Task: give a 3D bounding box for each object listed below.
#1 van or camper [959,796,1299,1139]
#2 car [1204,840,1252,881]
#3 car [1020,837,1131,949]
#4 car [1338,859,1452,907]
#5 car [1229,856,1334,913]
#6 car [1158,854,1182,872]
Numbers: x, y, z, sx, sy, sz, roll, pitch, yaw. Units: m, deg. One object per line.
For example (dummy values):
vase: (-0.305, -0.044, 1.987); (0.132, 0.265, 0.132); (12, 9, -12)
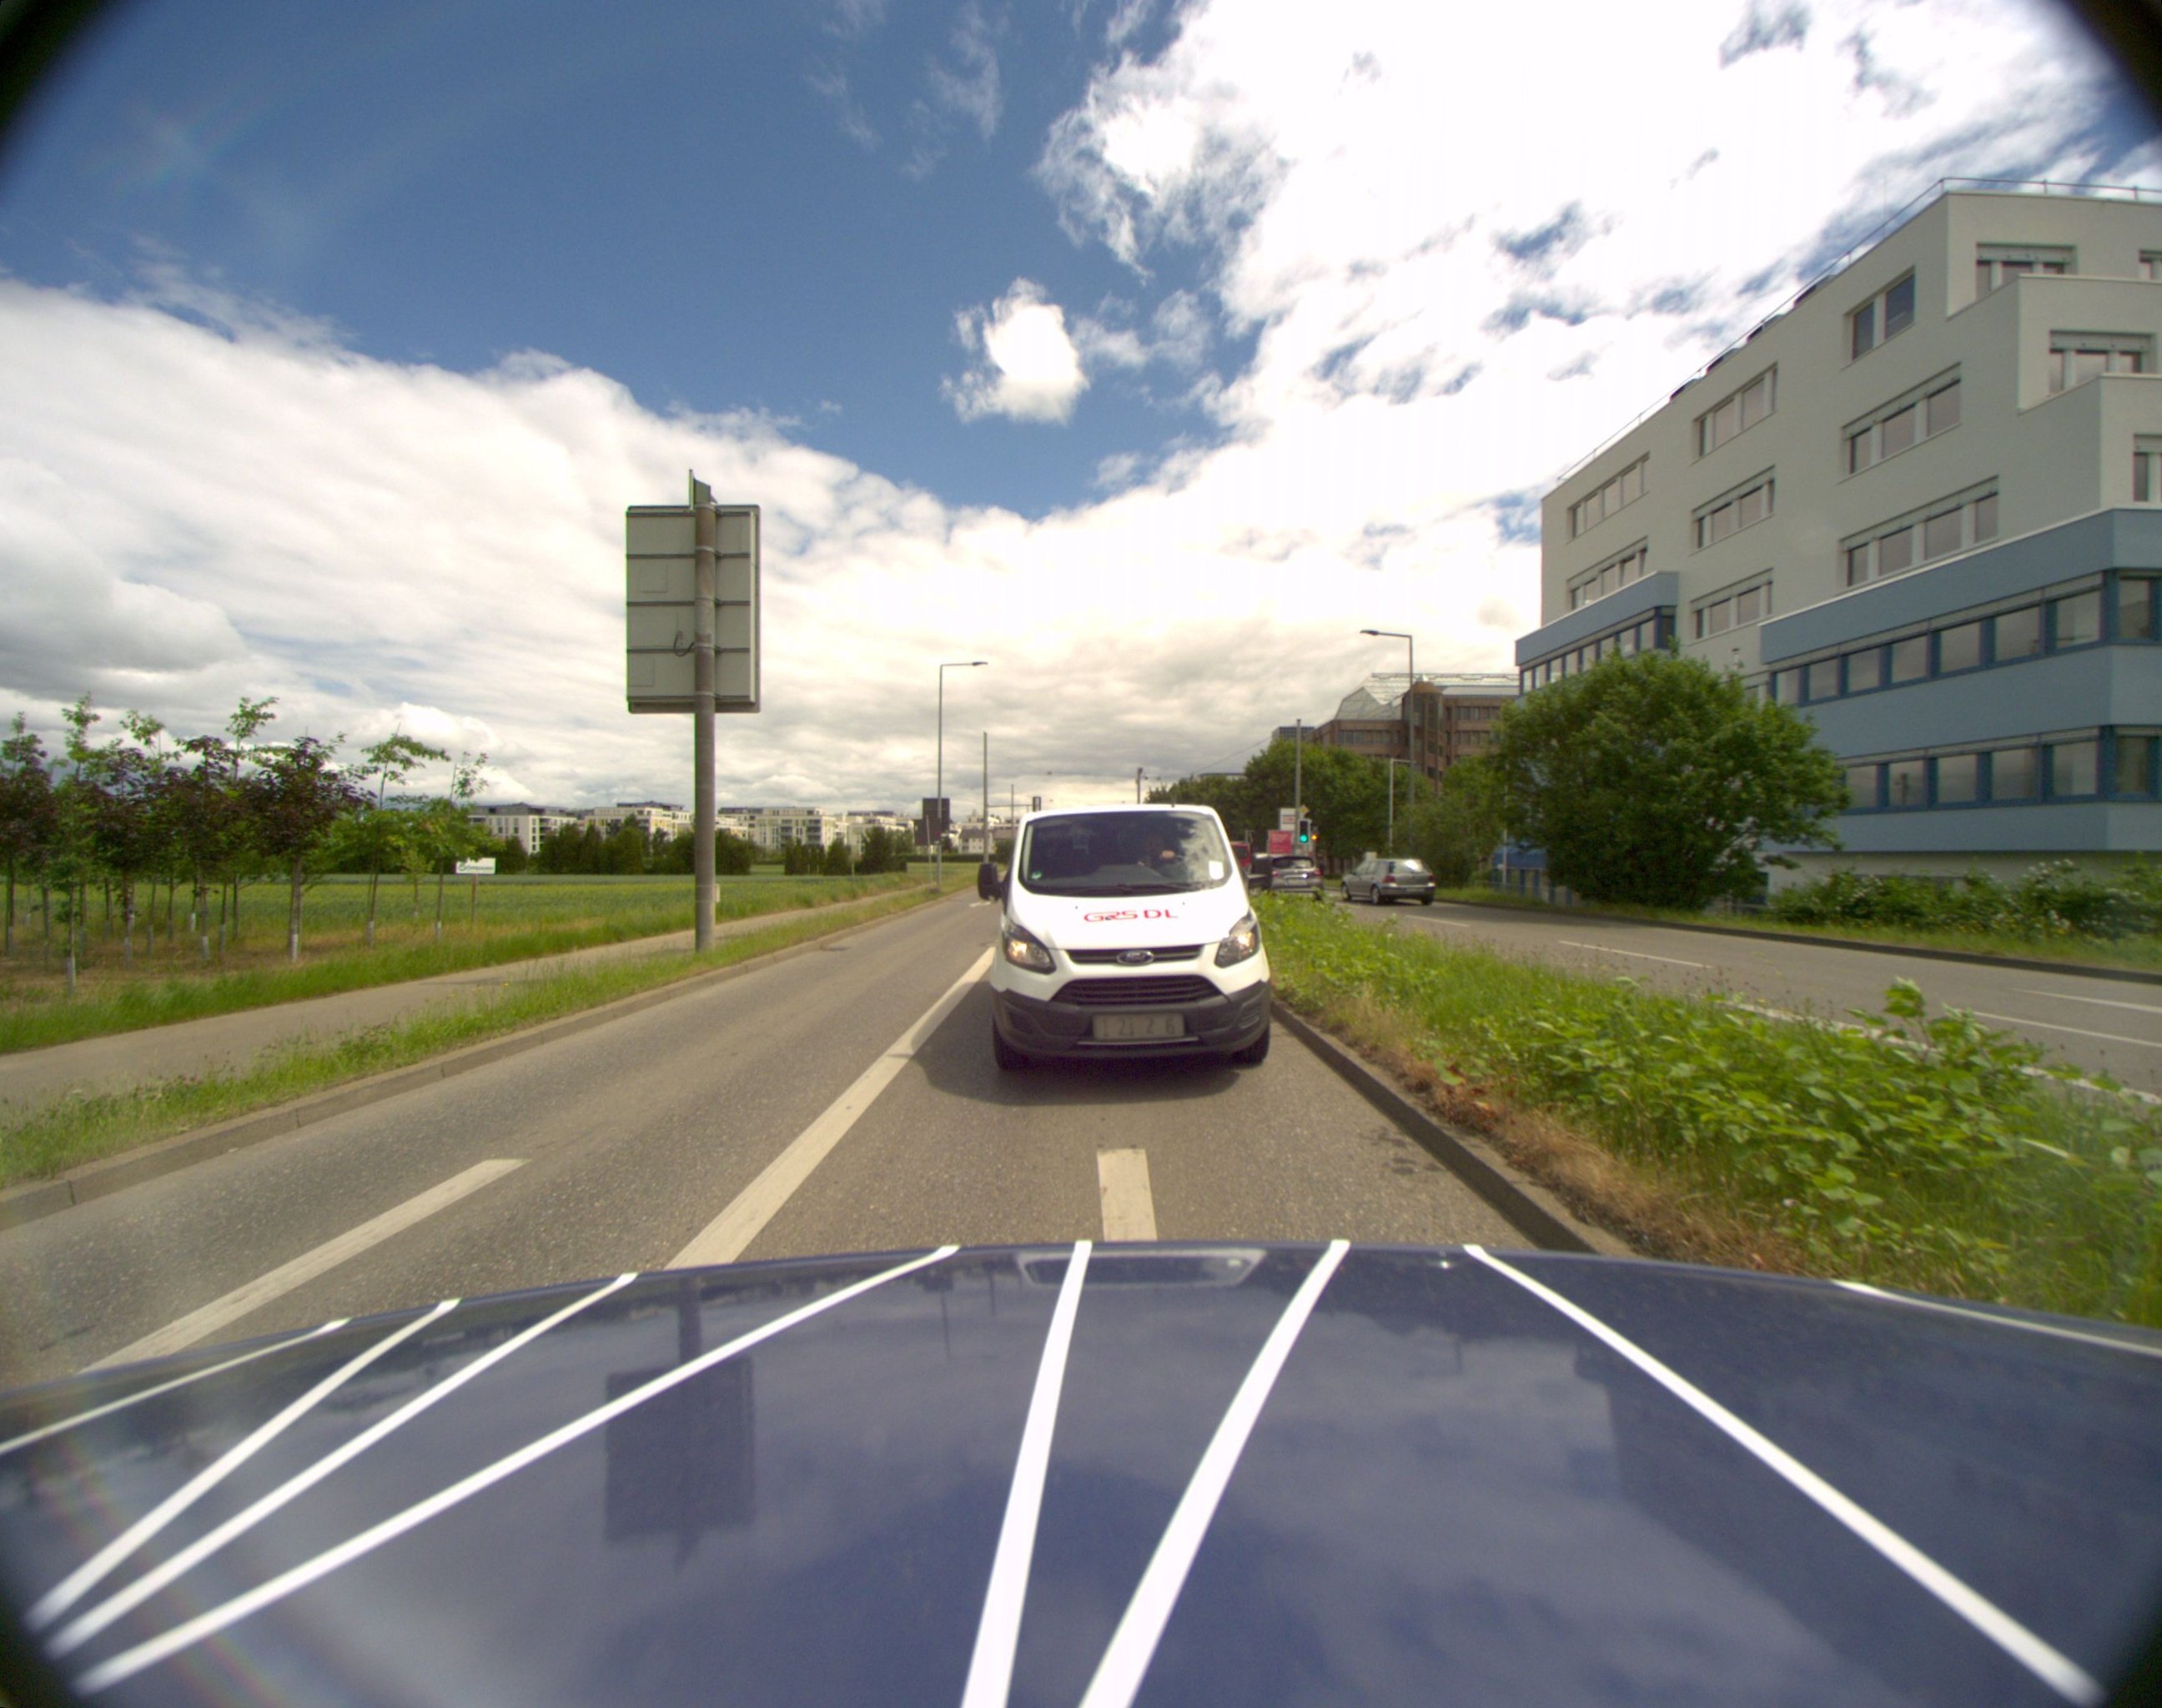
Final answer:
van or camper: (0.172, 0.664, 7.364); (1.999, 2.002, 5.798); (0, 0, -2)
car: (9.083, 0.382, 47.366); (1.998, 2.398, 5.240); (0, 0, 0)
car: (-0.070, 0.695, 15.686); (1.998, 2.002, 4.000); (0, 0, 1)
car: (9.778, 0.869, 24.019); (1.998, 1.346, 4.000); (-1, 0, 1)
car: (5.806, 0.824, 22.542); (1.940, 1.508, 3.999); (-1, 0, -2)
car: (7.797, 0.791, 66.671); (1.683, 1.473, 4.000); (-1, 0, 0)
